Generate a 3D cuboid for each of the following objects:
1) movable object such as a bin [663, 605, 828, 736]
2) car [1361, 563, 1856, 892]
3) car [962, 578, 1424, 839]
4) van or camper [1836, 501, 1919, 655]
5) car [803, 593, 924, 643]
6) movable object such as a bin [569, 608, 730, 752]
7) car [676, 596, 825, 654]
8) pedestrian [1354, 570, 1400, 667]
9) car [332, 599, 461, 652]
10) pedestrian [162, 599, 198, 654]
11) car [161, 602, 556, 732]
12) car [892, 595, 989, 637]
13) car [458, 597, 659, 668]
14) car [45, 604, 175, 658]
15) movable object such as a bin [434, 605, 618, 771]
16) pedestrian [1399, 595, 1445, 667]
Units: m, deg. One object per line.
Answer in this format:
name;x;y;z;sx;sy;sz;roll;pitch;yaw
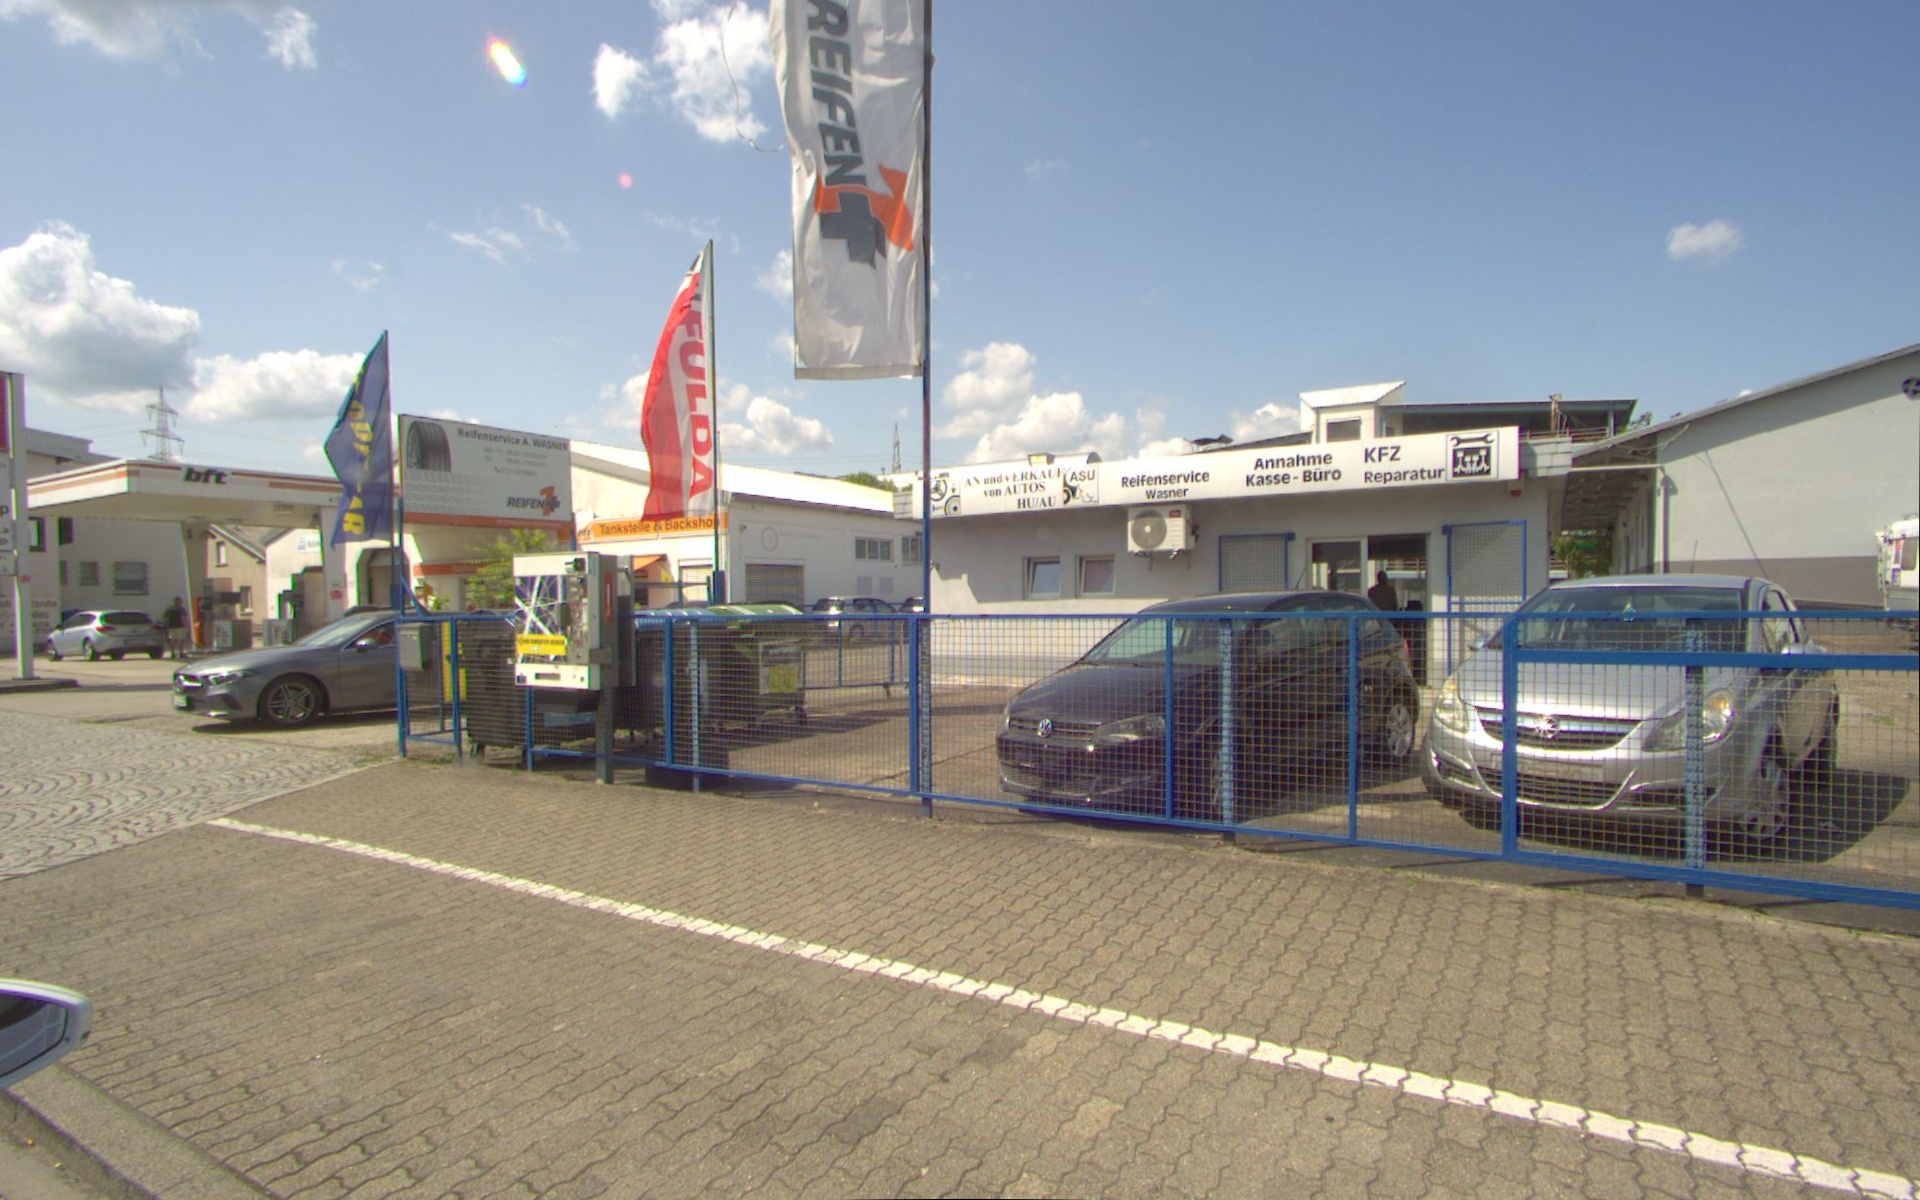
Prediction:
movable object such as a bin;-2.528;0.782;11.906;1.318;1.415;1.400;0;1;31
car;4.278;0.560;6.384;3.729;1.472;1.757;-1;0;-42
car;1.896;0.601;7.495;3.655;1.472;1.625;-1;0;-43
van or camper;21.019;-0.456;19.534;5.571;3.005;2.264;0;1;31
car;-3.011;0.524;32.053;1.564;1.482;4.187;0;0;33
movable object such as a bin;-3.321;0.802;10.741;1.225;1.415;1.106;0;1;31
car;-5.714;0.639;27.822;1.564;1.482;4.187;0;0;33
pedestrian;7.357;0.317;17.650;0.654;1.671;0.563;0;1;34
car;-17.305;0.745;30.726;3.777;1.523;1.803;-1;0;31
pedestrian;-23.772;0.799;30.517;0.698;1.679;0.546;-1;1;-22
car;-7.884;0.762;13.495;1.654;1.434;4.253;0;0;39
car;-0.636;0.530;35.739;1.564;1.385;3.860;0;0;33
car;-9.161;0.687;23.166;1.564;1.482;4.187;0;0;33
car;-25.733;0.899;30.307;3.776;1.523;1.803;-1;0;30
movable object such as a bin;-4.154;0.785;9.610;1.225;1.455;1.106;0;1;31
pedestrian;8.051;0.531;17.443;0.654;1.225;0.563;0;1;34
